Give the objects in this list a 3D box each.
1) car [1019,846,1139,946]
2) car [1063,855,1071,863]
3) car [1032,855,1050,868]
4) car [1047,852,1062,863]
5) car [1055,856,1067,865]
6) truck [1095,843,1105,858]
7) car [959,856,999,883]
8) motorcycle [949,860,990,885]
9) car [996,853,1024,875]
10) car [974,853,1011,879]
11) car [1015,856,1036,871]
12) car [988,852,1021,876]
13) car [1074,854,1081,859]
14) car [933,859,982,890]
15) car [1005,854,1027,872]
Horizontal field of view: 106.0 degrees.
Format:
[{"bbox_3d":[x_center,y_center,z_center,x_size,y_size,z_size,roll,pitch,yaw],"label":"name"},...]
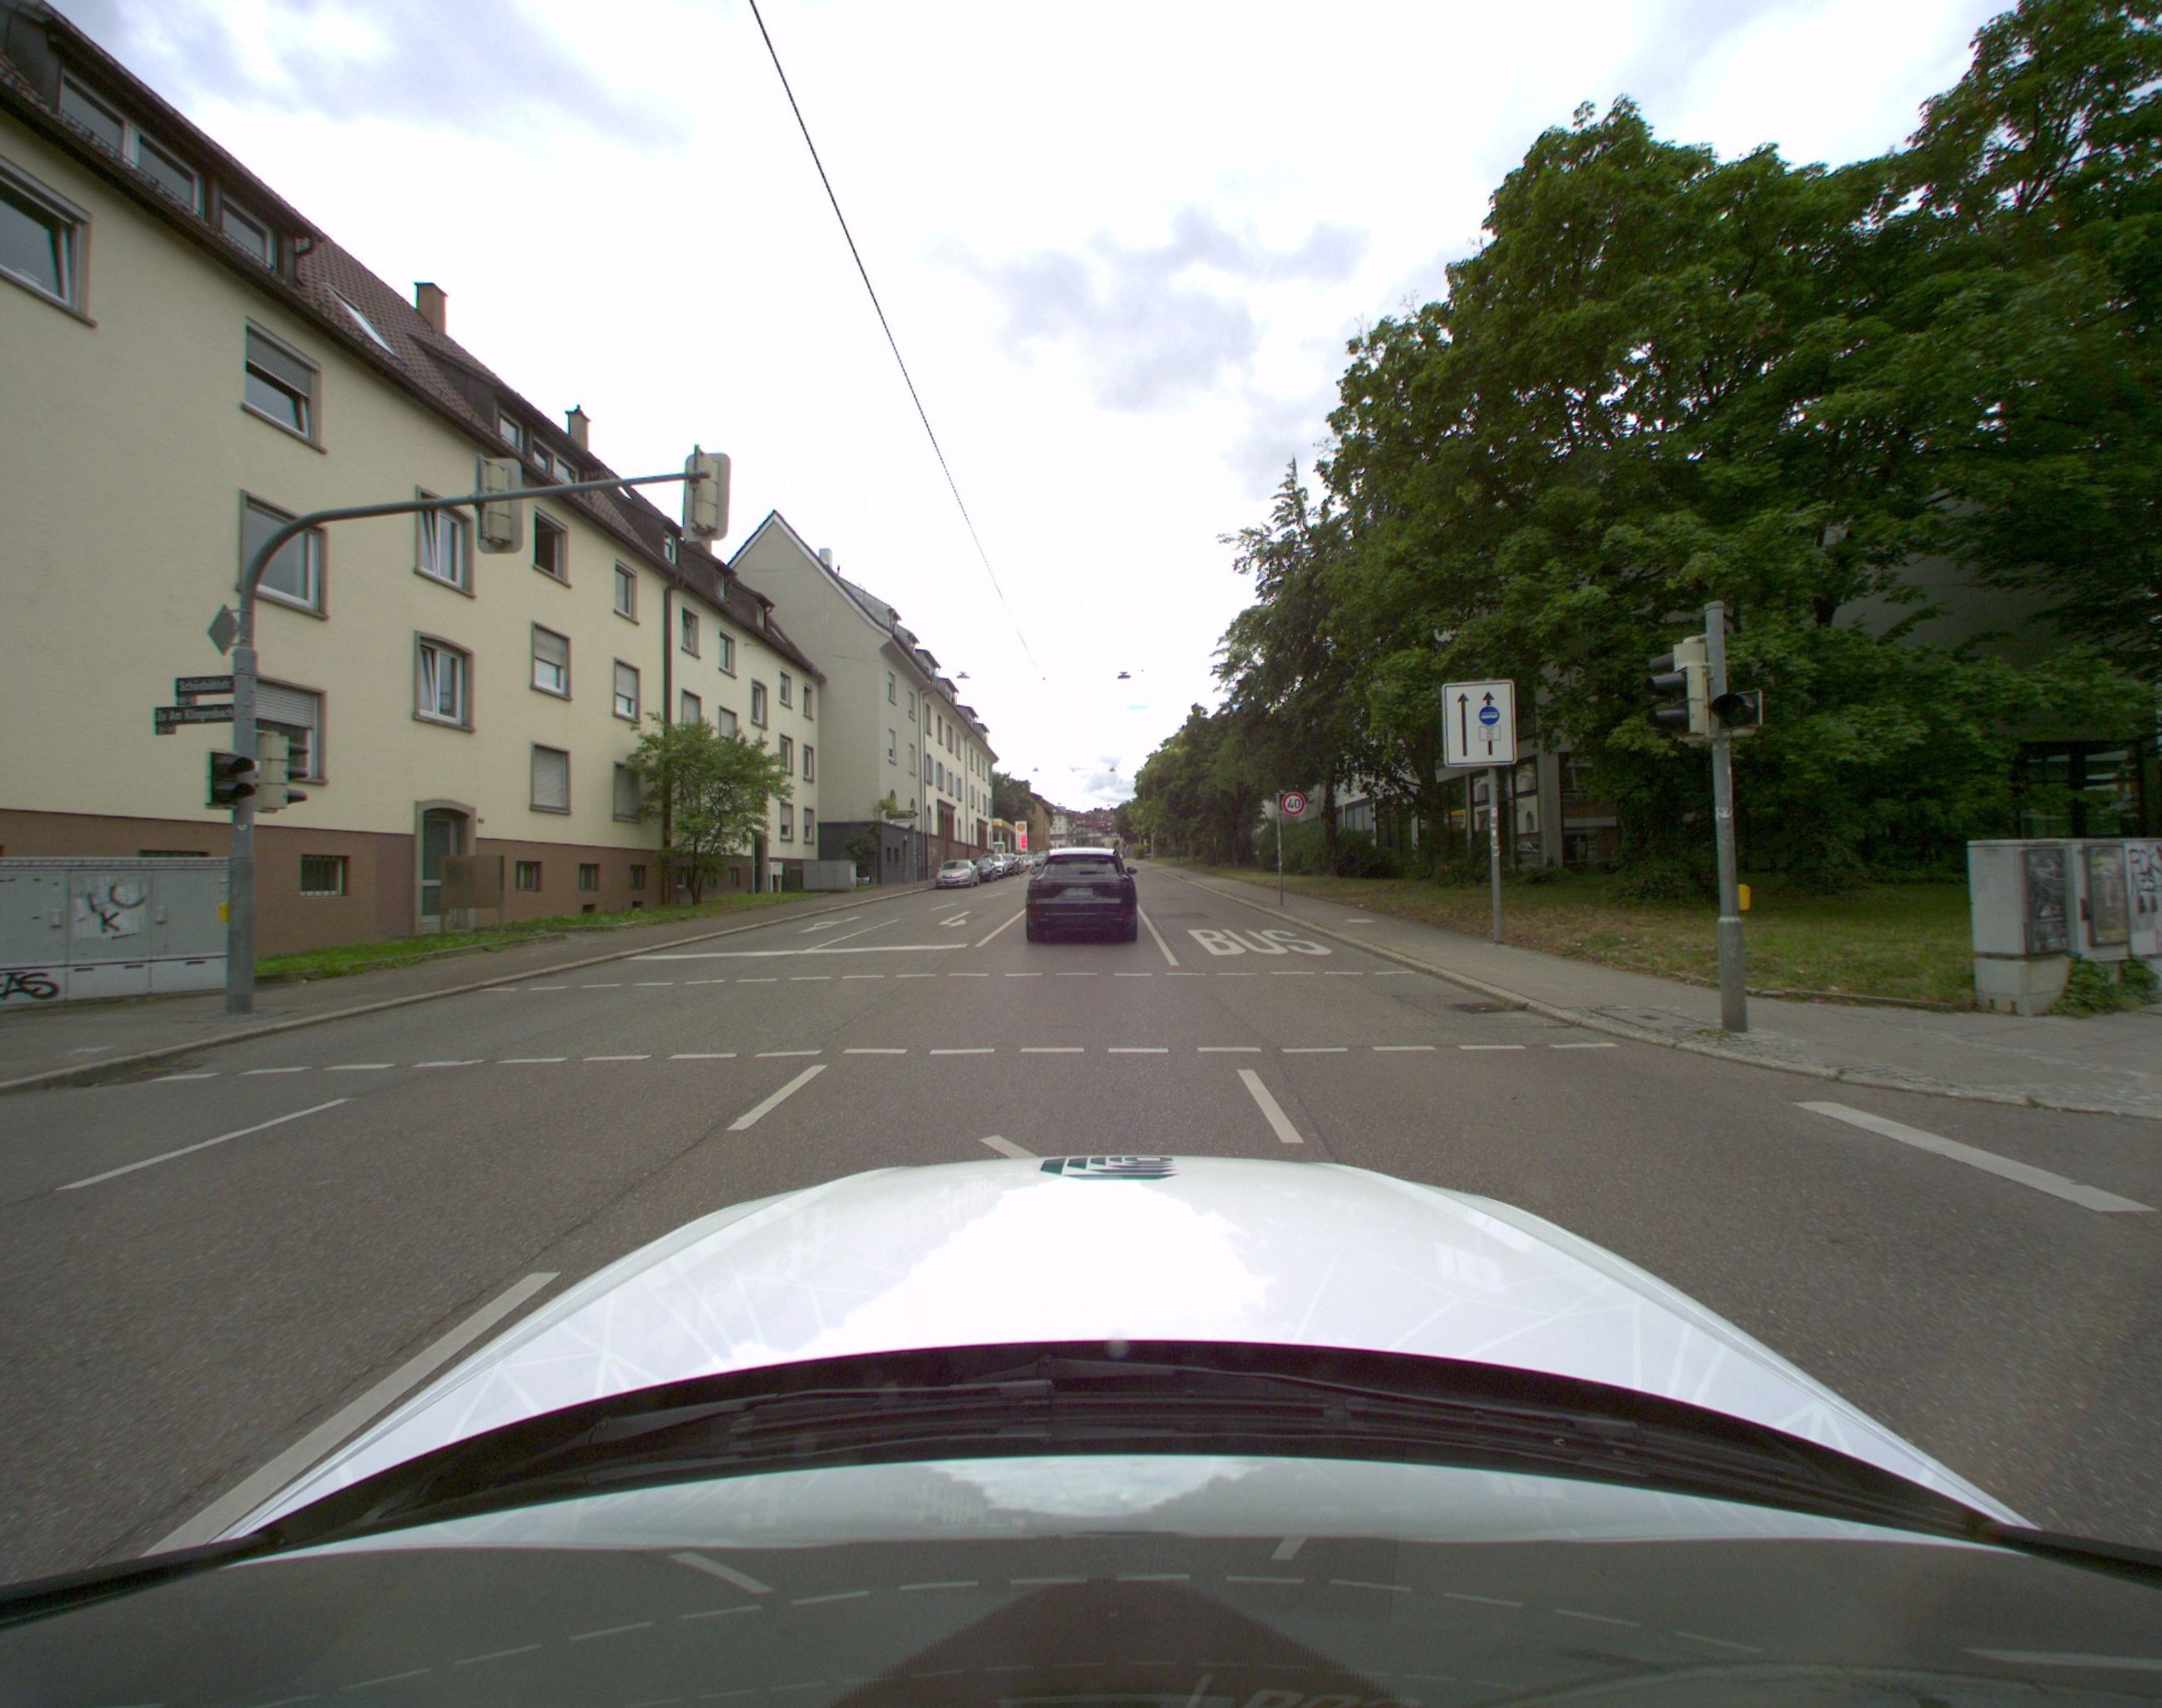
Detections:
[{"bbox_3d":[0.032,0.679,15.596,1.986,1.662,4.002,0,0,2],"label":"car"},{"bbox_3d":[-2.964,1.079,175.688,1.740,1.568,3.907,-2,0,-1],"label":"car"},{"bbox_3d":[-4.776,0.858,97.322,1.784,1.450,4.219,-2,0,1],"label":"car"},{"bbox_3d":[-3.962,0.497,123.549,1.908,1.577,4.702,-2,0,2],"label":"car"},{"bbox_3d":[-3.547,1.143,145.532,1.776,1.609,4.267,-3,0,3],"label":"car"},{"bbox_3d":[4.637,-0.820,194.645,2.258,3.424,9.880,-1,0,1],"label":"truck"},{"bbox_3d":[-5.965,0.867,48.161,1.721,1.429,4.193,-2,0,1],"label":"car"},{"bbox_3d":[-6.093,1.011,44.530,2.045,1.235,0.803,-3,0,-17],"label":"motorcycle"},{"bbox_3d":[-5.655,0.770,64.966,1.721,1.558,4.082,-4,0,1],"label":"car"},{"bbox_3d":[-5.884,0.754,54.488,1.839,1.621,4.643,-2,0,0],"label":"car"},{"bbox_3d":[-5.370,0.905,79.031,1.613,1.425,3.667,-2,0,2],"label":"car"},{"bbox_3d":[-5.558,0.710,59.777,1.719,1.599,4.506,-2,0,4],"label":"car"},{"bbox_3d":[-1.038,0.828,253.345,1.759,1.508,4.002,-1,0,2],"label":"car"},{"bbox_3d":[-6.127,0.966,40.848,1.721,1.374,4.337,-2,0,0],"label":"car"},{"bbox_3d":[-5.558,0.754,69.898,1.542,1.475,3.604,-2,0,1],"label":"car"}]
